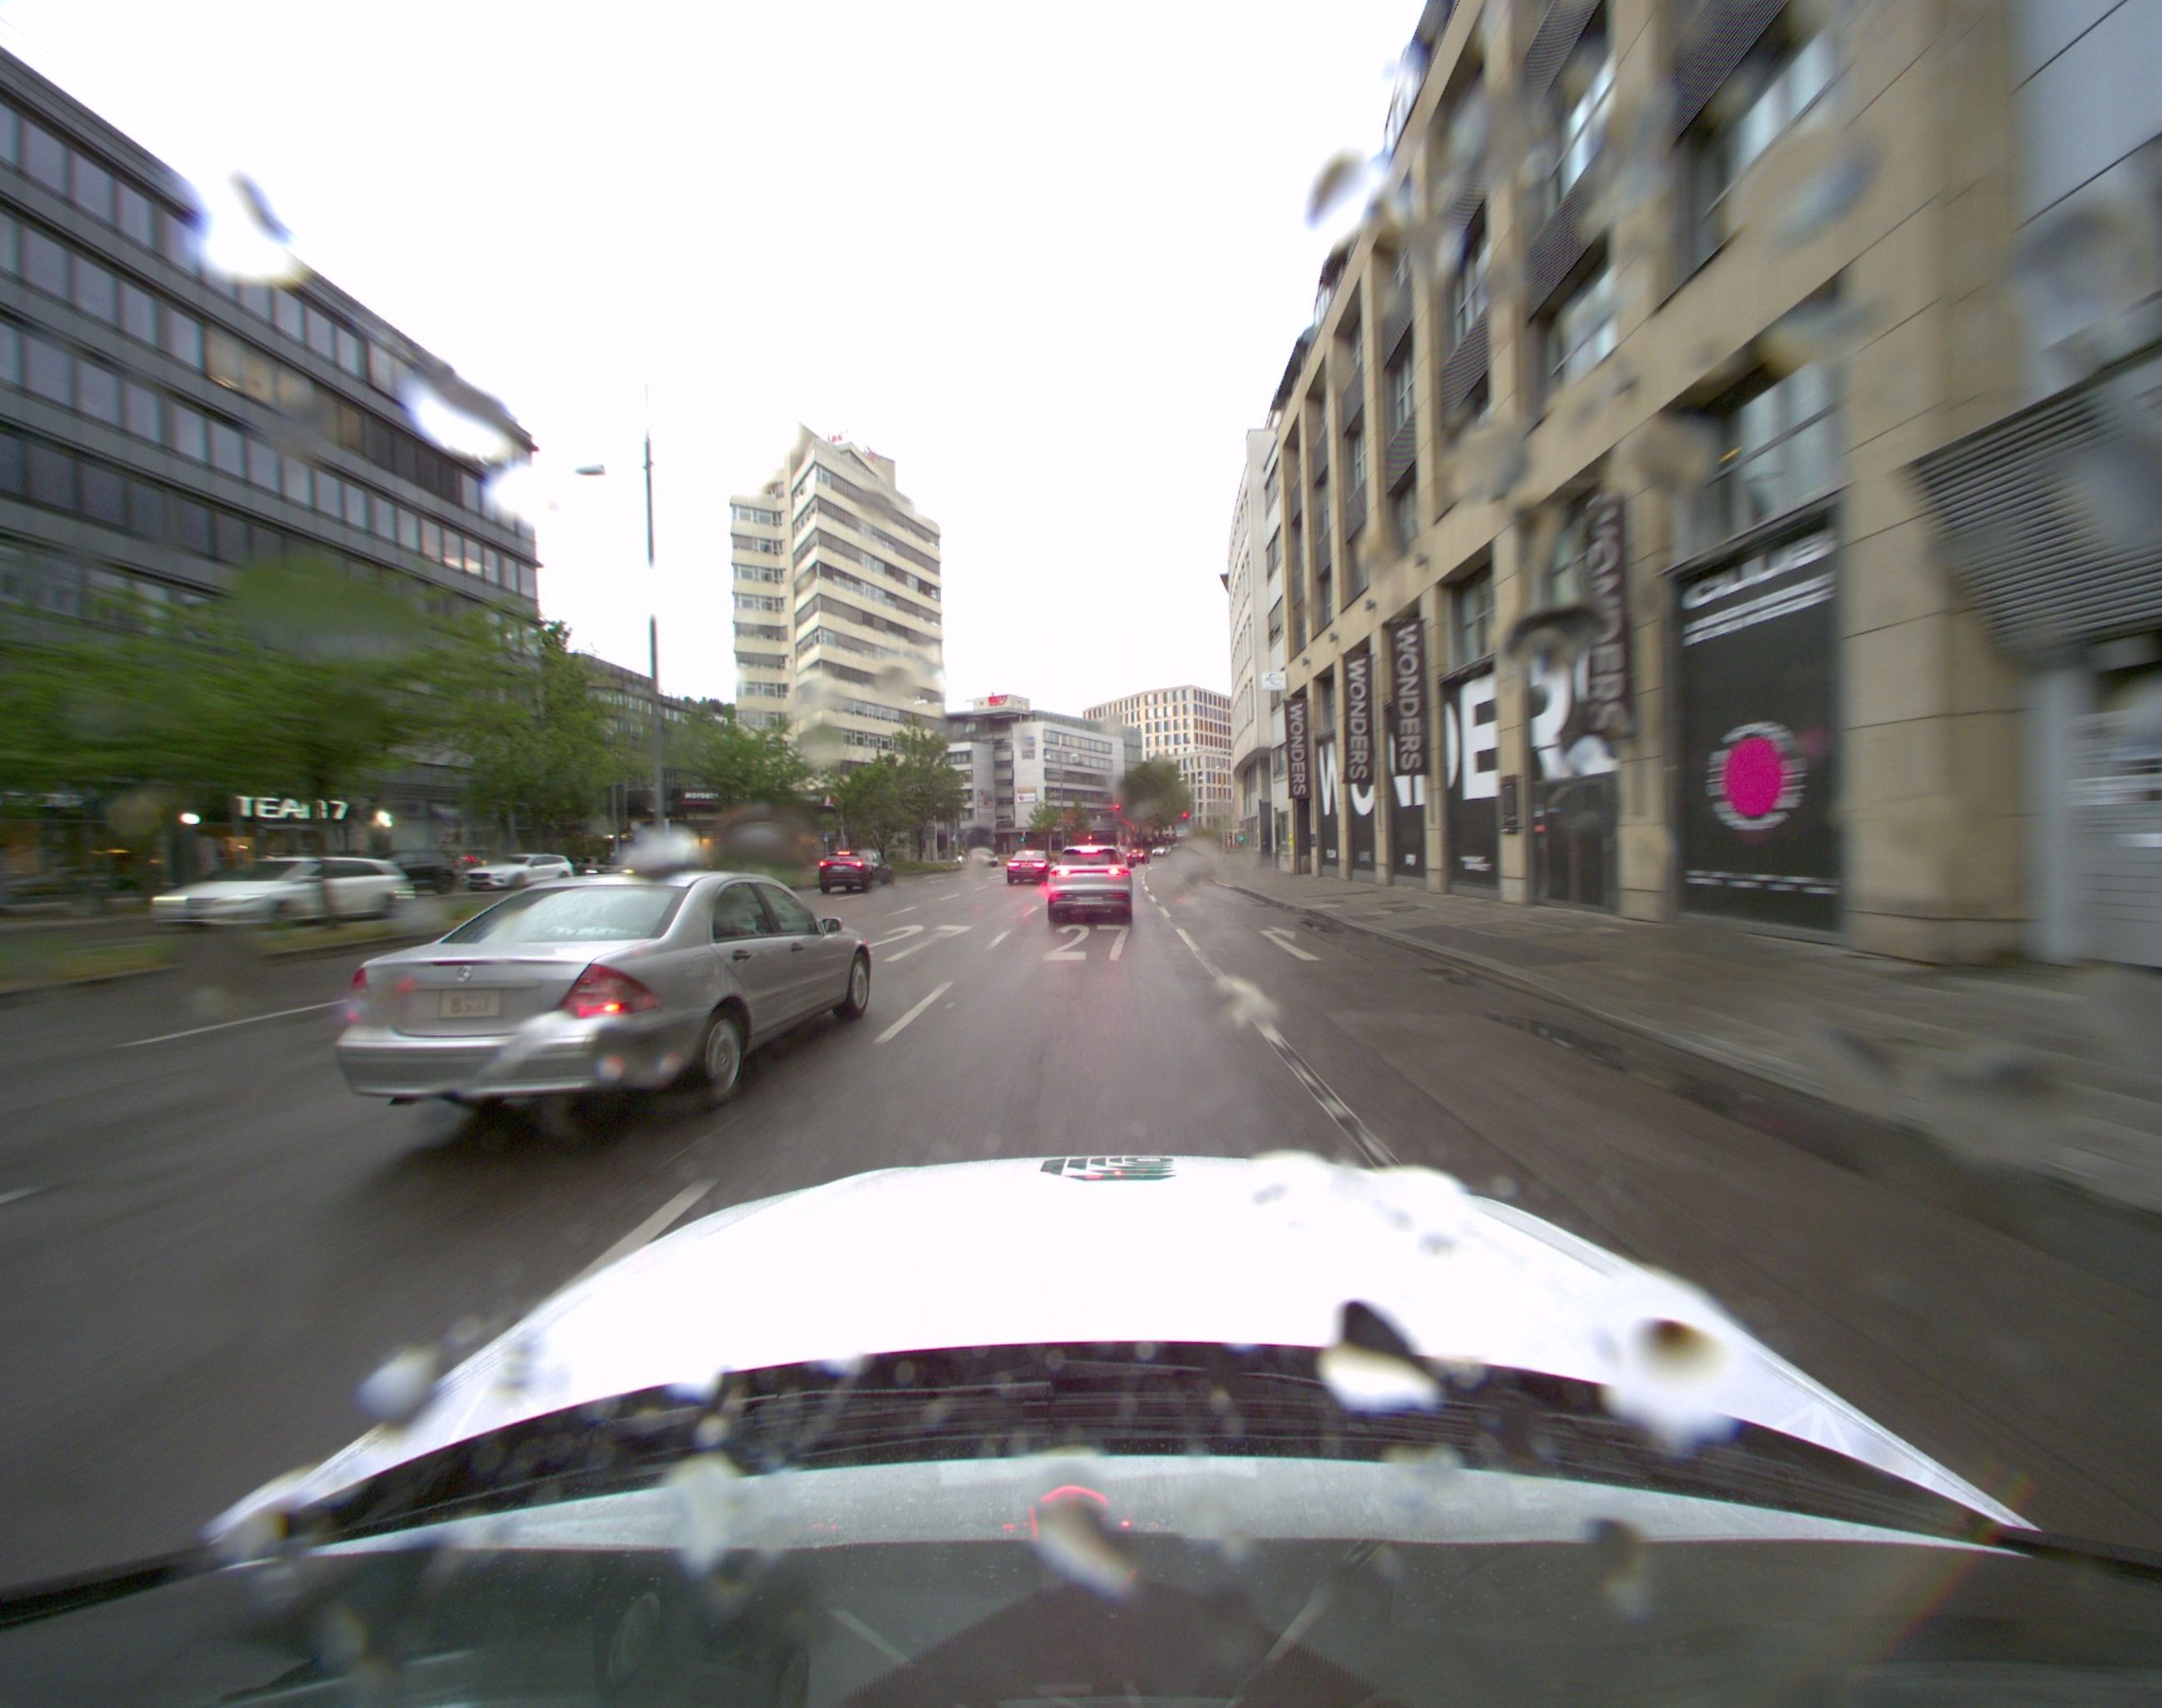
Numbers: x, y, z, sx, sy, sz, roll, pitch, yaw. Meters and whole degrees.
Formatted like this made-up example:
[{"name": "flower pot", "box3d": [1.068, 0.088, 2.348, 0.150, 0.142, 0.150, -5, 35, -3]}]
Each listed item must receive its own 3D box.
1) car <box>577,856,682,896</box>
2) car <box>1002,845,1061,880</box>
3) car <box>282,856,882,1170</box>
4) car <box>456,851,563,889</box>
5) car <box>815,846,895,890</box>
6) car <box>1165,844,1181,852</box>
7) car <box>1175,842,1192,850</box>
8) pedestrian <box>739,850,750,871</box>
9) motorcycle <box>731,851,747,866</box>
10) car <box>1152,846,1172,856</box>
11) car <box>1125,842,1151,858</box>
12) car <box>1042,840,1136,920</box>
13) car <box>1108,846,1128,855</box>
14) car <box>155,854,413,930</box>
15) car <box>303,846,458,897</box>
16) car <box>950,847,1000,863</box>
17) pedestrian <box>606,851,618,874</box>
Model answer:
[{"name": "car", "box3d": [-17.668, 0.834, 32.123, 1.617, 1.453, 4.165, -1, -1, 3]}, {"name": "car", "box3d": [-2.166, 0.364, 37.259, 1.862, 1.479, 4.887, -1, -1, 6]}, {"name": "car", "box3d": [-2.931, 0.767, 6.091, 1.666, 1.479, 4.363, 0, 0, 2]}, {"name": "car", "box3d": [-23.590, 0.621, 33.799, 1.618, 1.460, 3.962, 0, 0, 0]}, {"name": "car", "box3d": [-8.137, 0.478, 29.698, 1.768, 1.457, 4.000, -1, -1, 0]}, {"name": "car", "box3d": [18.069, -1.216, 159.503, 1.565, 1.538, 4.025, -1, 0, 32]}, {"name": "car", "box3d": [21.028, -1.633, 166.668, 1.839, 1.736, 4.025, -1, 0, 32]}, {"name": "pedestrian", "box3d": [-28.074, 0.548, 67.976, 0.757, 1.713, 0.587, -1, 0, -37]}, {"name": "motorcycle", "box3d": [-29.830, 0.397, 71.025, 0.709, 1.332, 1.800, -1, 0, -42]}, {"name": "car", "box3d": [13.207, -0.472, 132.454, 1.565, 1.538, 4.025, -1, 0, 32]}, {"name": "car", "box3d": [6.031, -0.433, 85.821, 1.797, 1.578, 4.018, -1, 0, 17]}, {"name": "car", "box3d": [0.219, 0.530, 18.584, 1.894, 1.621, 4.001, 0, 0, 2]}, {"name": "car", "box3d": [6.021, -0.577, 133.685, 1.565, 1.538, 4.025, -1, 0, 30]}, {"name": "car", "box3d": [-17.842, 0.786, 18.571, 1.618, 1.492, 4.306, -1, -1, 0]}, {"name": "car", "box3d": [-23.693, 0.532, 27.793, 1.618, 1.611, 4.231, 0, 0, 0]}, {"name": "car", "box3d": [-8.901, 0.096, 68.310, 3.949, 1.342, 1.669, -1, 0, 28]}, {"name": "pedestrian", "box3d": [-30.249, 0.540, 52.556, 0.606, 1.503, 0.432, -1, 0, -37]}]
